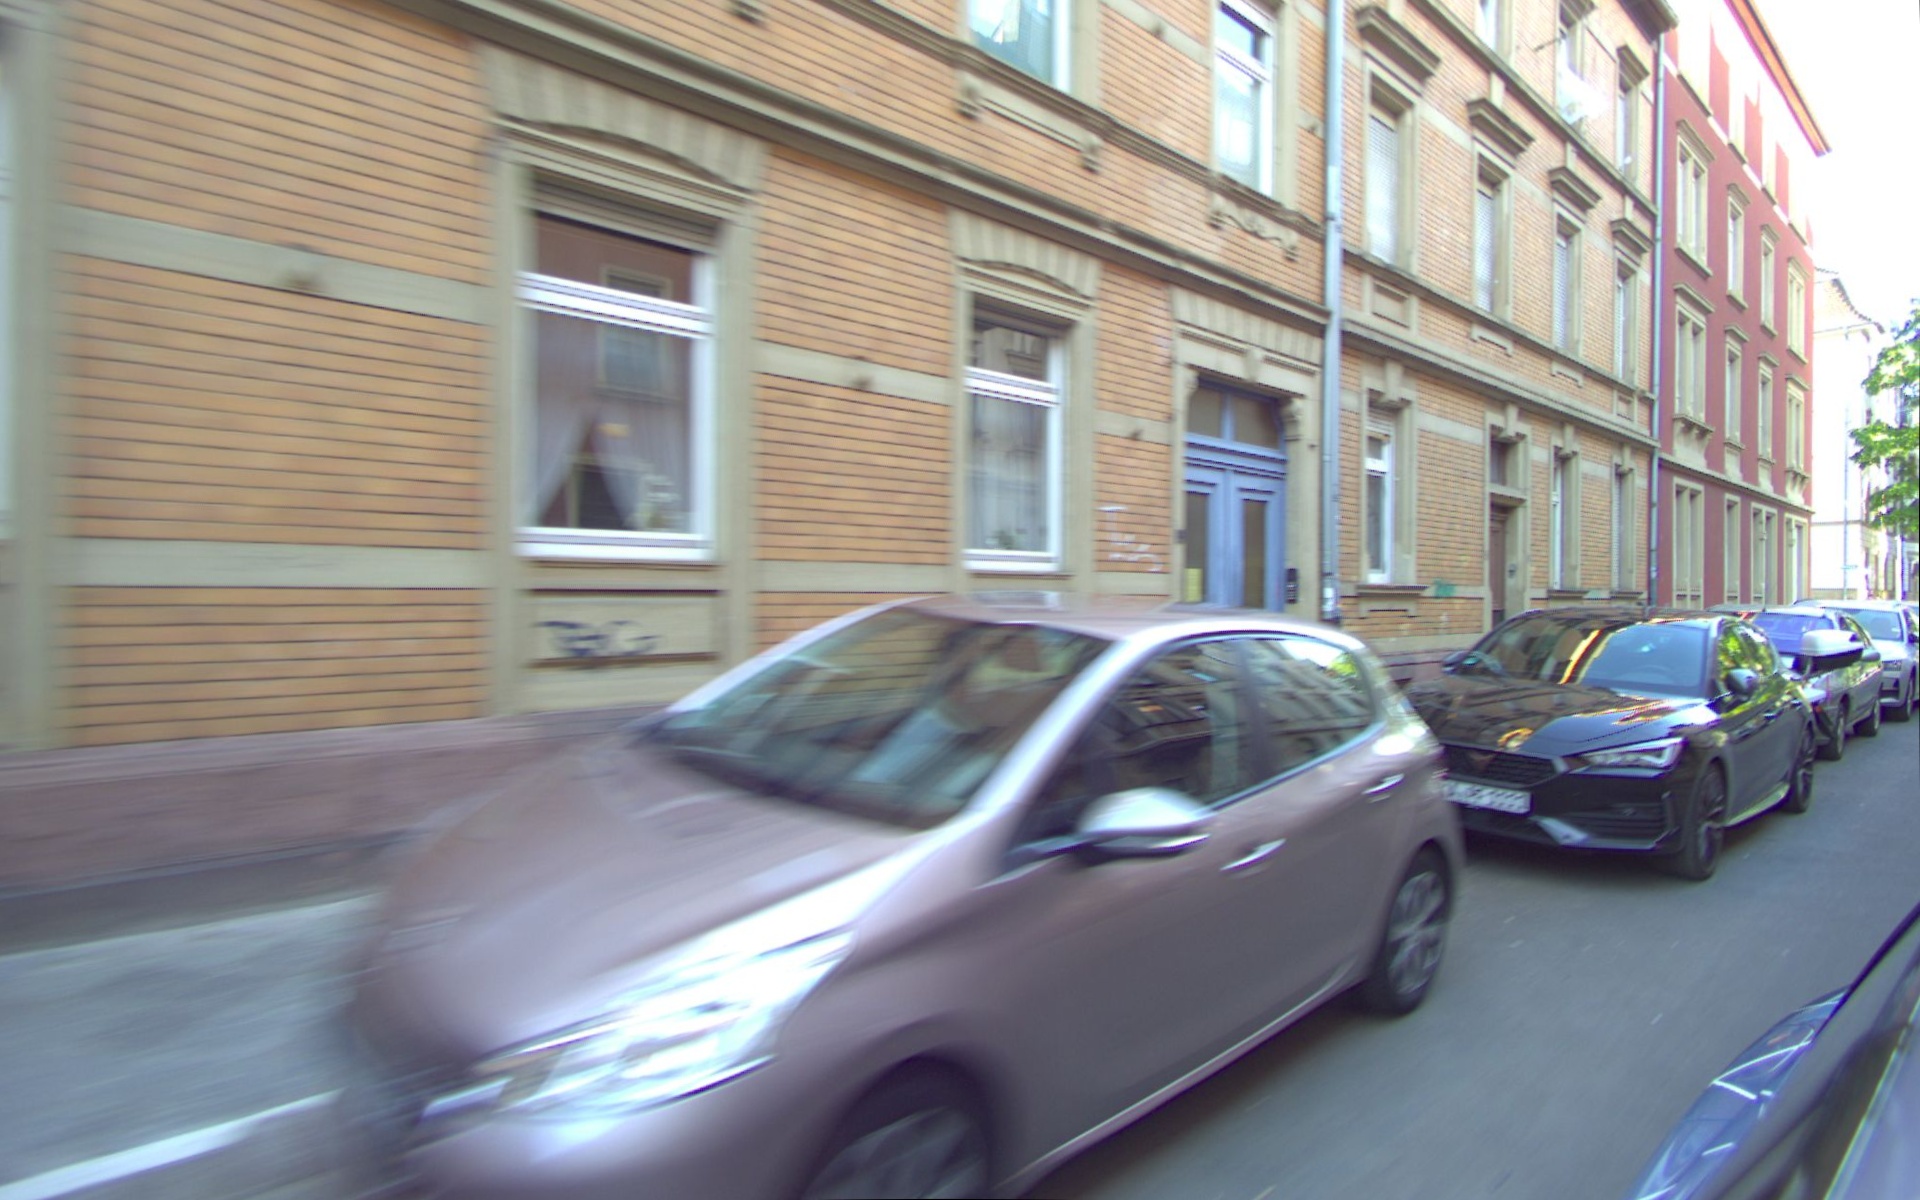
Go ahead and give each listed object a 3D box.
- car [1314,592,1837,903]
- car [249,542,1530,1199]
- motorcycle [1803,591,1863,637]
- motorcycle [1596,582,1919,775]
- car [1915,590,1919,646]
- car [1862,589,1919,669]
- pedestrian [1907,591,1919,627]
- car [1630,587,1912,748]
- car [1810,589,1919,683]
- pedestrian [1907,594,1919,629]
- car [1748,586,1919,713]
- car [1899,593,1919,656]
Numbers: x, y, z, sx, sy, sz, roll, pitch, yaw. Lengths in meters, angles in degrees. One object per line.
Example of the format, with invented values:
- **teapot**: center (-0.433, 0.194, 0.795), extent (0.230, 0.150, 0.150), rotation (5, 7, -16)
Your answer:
- **car**: center (4.290, 0.682, 6.746), extent (4.241, 1.414, 1.780), rotation (0, 1, -41)
- **car**: center (0.213, 0.647, 3.370), extent (4.025, 1.434, 1.729), rotation (0, 5, -43)
- **motorcycle**: center (30.846, 0.506, 35.747), extent (2.571, 1.544, 0.875), rotation (1, 0, -33)
- **motorcycle**: center (7.031, 0.656, 8.965), extent (2.201, 1.556, 0.883), rotation (-1, -1, 24)
- **car**: center (27.539, 0.486, 27.774), extent (3.643, 1.501, 1.670), rotation (0, 1, -43)
- **car**: center (20.048, 0.572, 20.866), extent (3.997, 1.522, 1.679), rotation (0, 0, -41)
- **pedestrian**: center (50.597, 0.468, 53.607), extent (0.694, 1.868, 0.528), rotation (0, 0, -40)
- **car**: center (8.867, 0.594, 10.955), extent (3.922, 1.424, 1.695), rotation (0, 1, -41)
- **car**: center (16.594, 0.585, 18.140), extent (3.957, 1.498, 1.660), rotation (0, 1, -44)
- **pedestrian**: center (51.332, 0.598, 54.324), extent (0.704, 1.868, 0.827), rotation (1, 0, 43)
- **car**: center (12.614, 0.590, 14.115), extent (4.324, 1.502, 1.765), rotation (0, 1, -41)
- **car**: center (24.321, 0.574, 24.703), extent (3.901, 1.481, 1.708), rotation (0, 1, -42)
